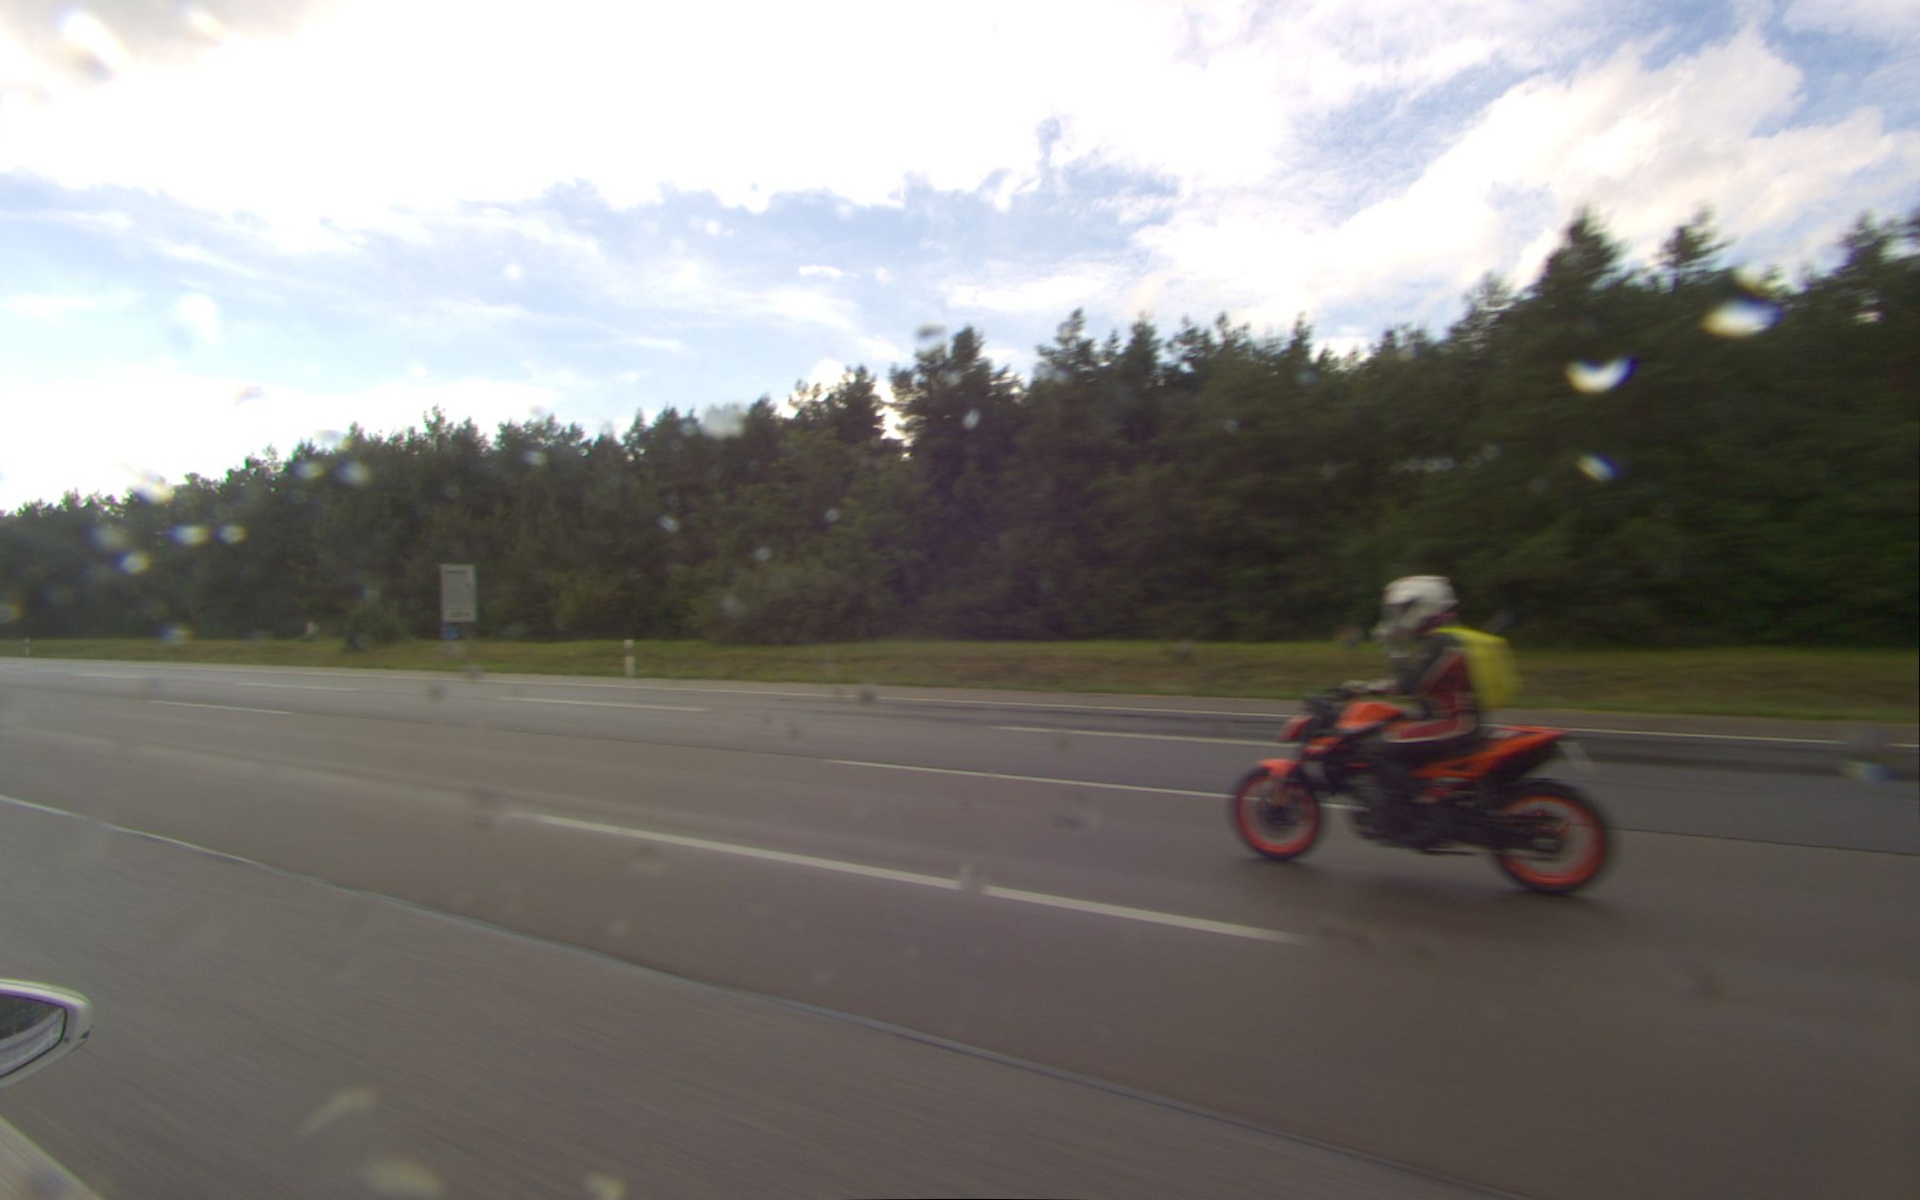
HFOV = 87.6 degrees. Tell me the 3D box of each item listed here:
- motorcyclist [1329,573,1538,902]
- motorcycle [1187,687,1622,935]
[{"bbox_3d":[2.672,0.699,5.624,0.945,1.635,0.889,-1,-1,33],"label":"motorcyclist"},{"bbox_3d":[2.507,1.084,5.751,2.144,1.045,0.997,-1,-1,34],"label":"motorcycle"}]
